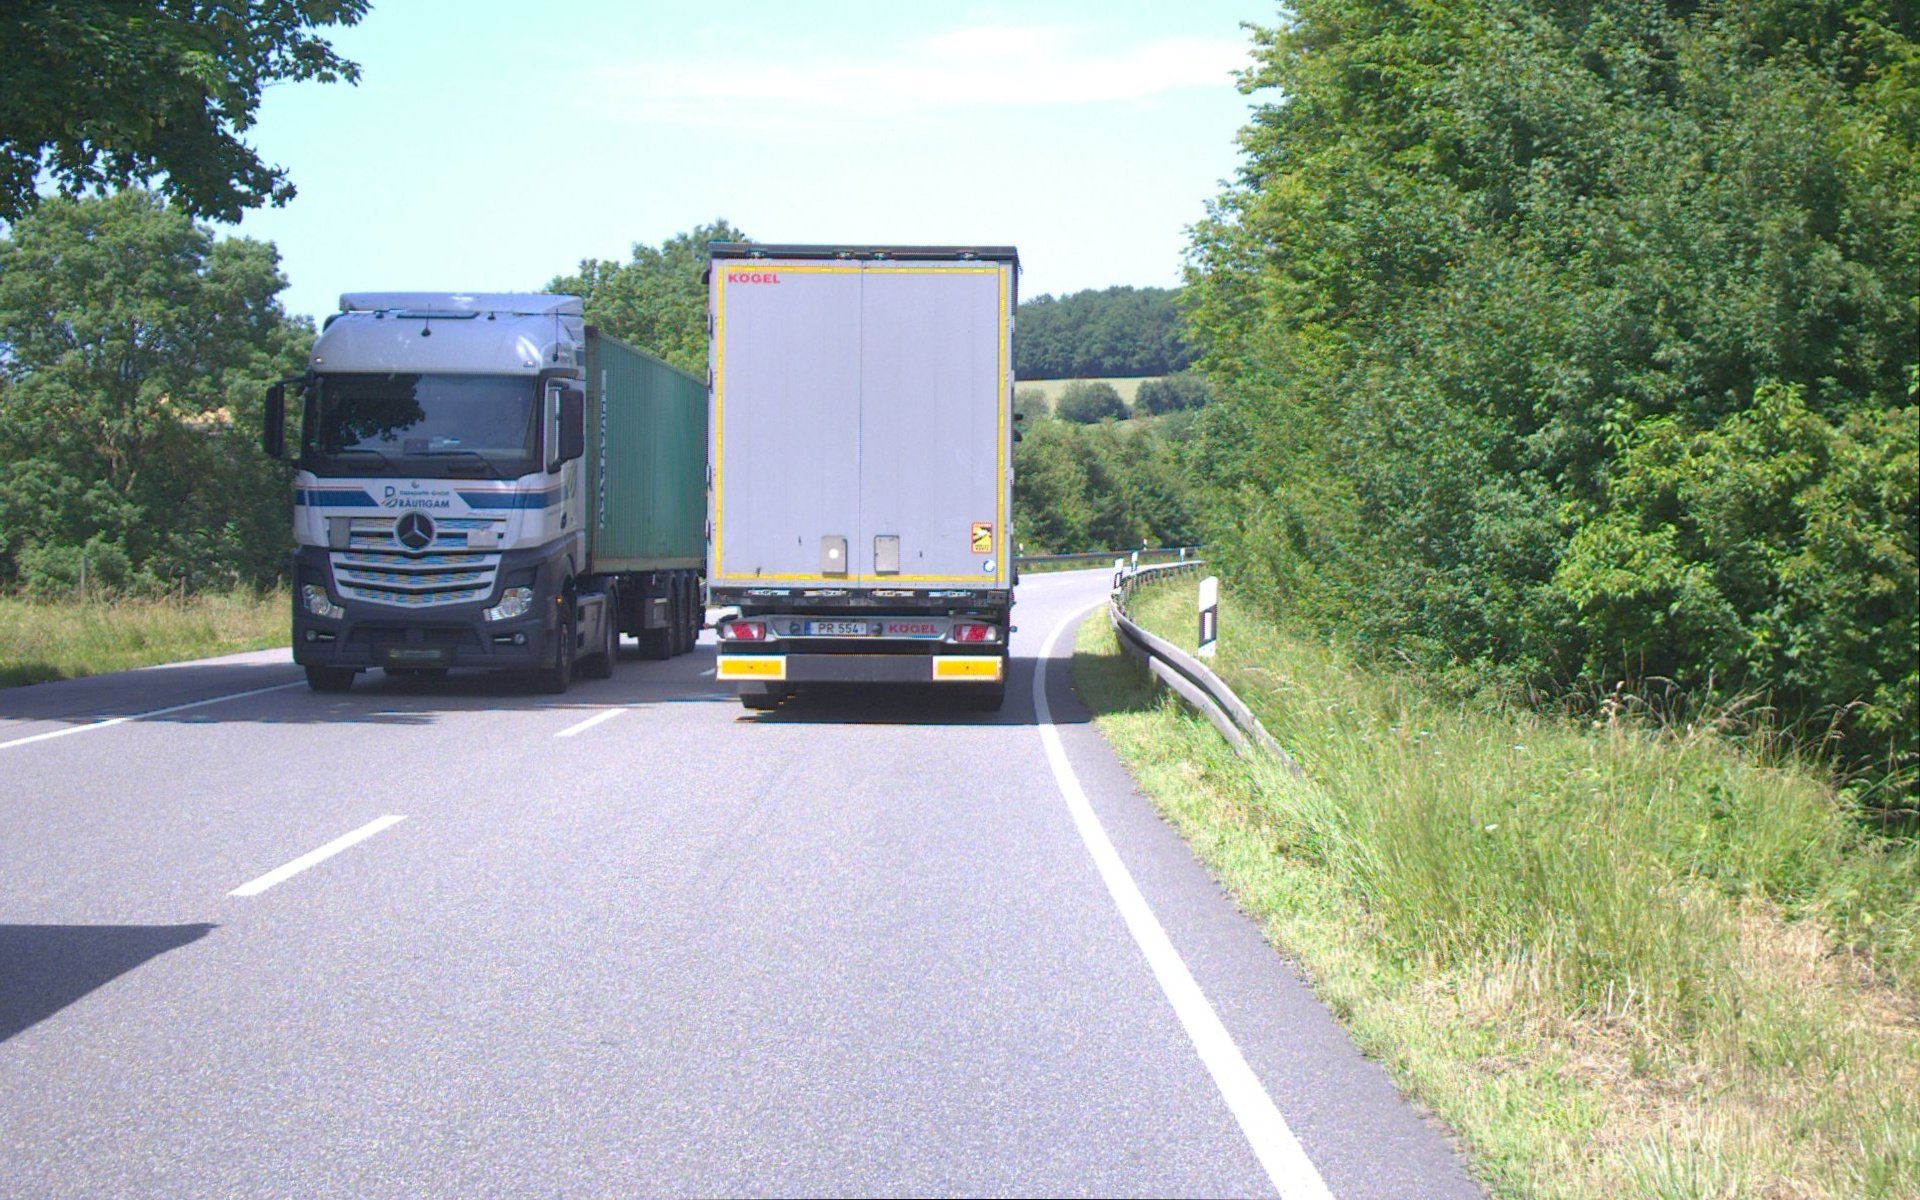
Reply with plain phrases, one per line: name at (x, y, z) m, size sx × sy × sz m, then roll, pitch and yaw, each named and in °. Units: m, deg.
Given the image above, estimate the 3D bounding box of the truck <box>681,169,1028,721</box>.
truck at (-0.869, -1.408, 34.191) m, size 2.817 × 4.517 × 11.768 m, roll 1°, pitch 1°, yaw 0°

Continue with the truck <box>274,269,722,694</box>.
truck at (-4.920, -1.301, 40.517) m, size 2.560 × 3.926 × 16.161 m, roll 2°, pitch 1°, yaw 2°
